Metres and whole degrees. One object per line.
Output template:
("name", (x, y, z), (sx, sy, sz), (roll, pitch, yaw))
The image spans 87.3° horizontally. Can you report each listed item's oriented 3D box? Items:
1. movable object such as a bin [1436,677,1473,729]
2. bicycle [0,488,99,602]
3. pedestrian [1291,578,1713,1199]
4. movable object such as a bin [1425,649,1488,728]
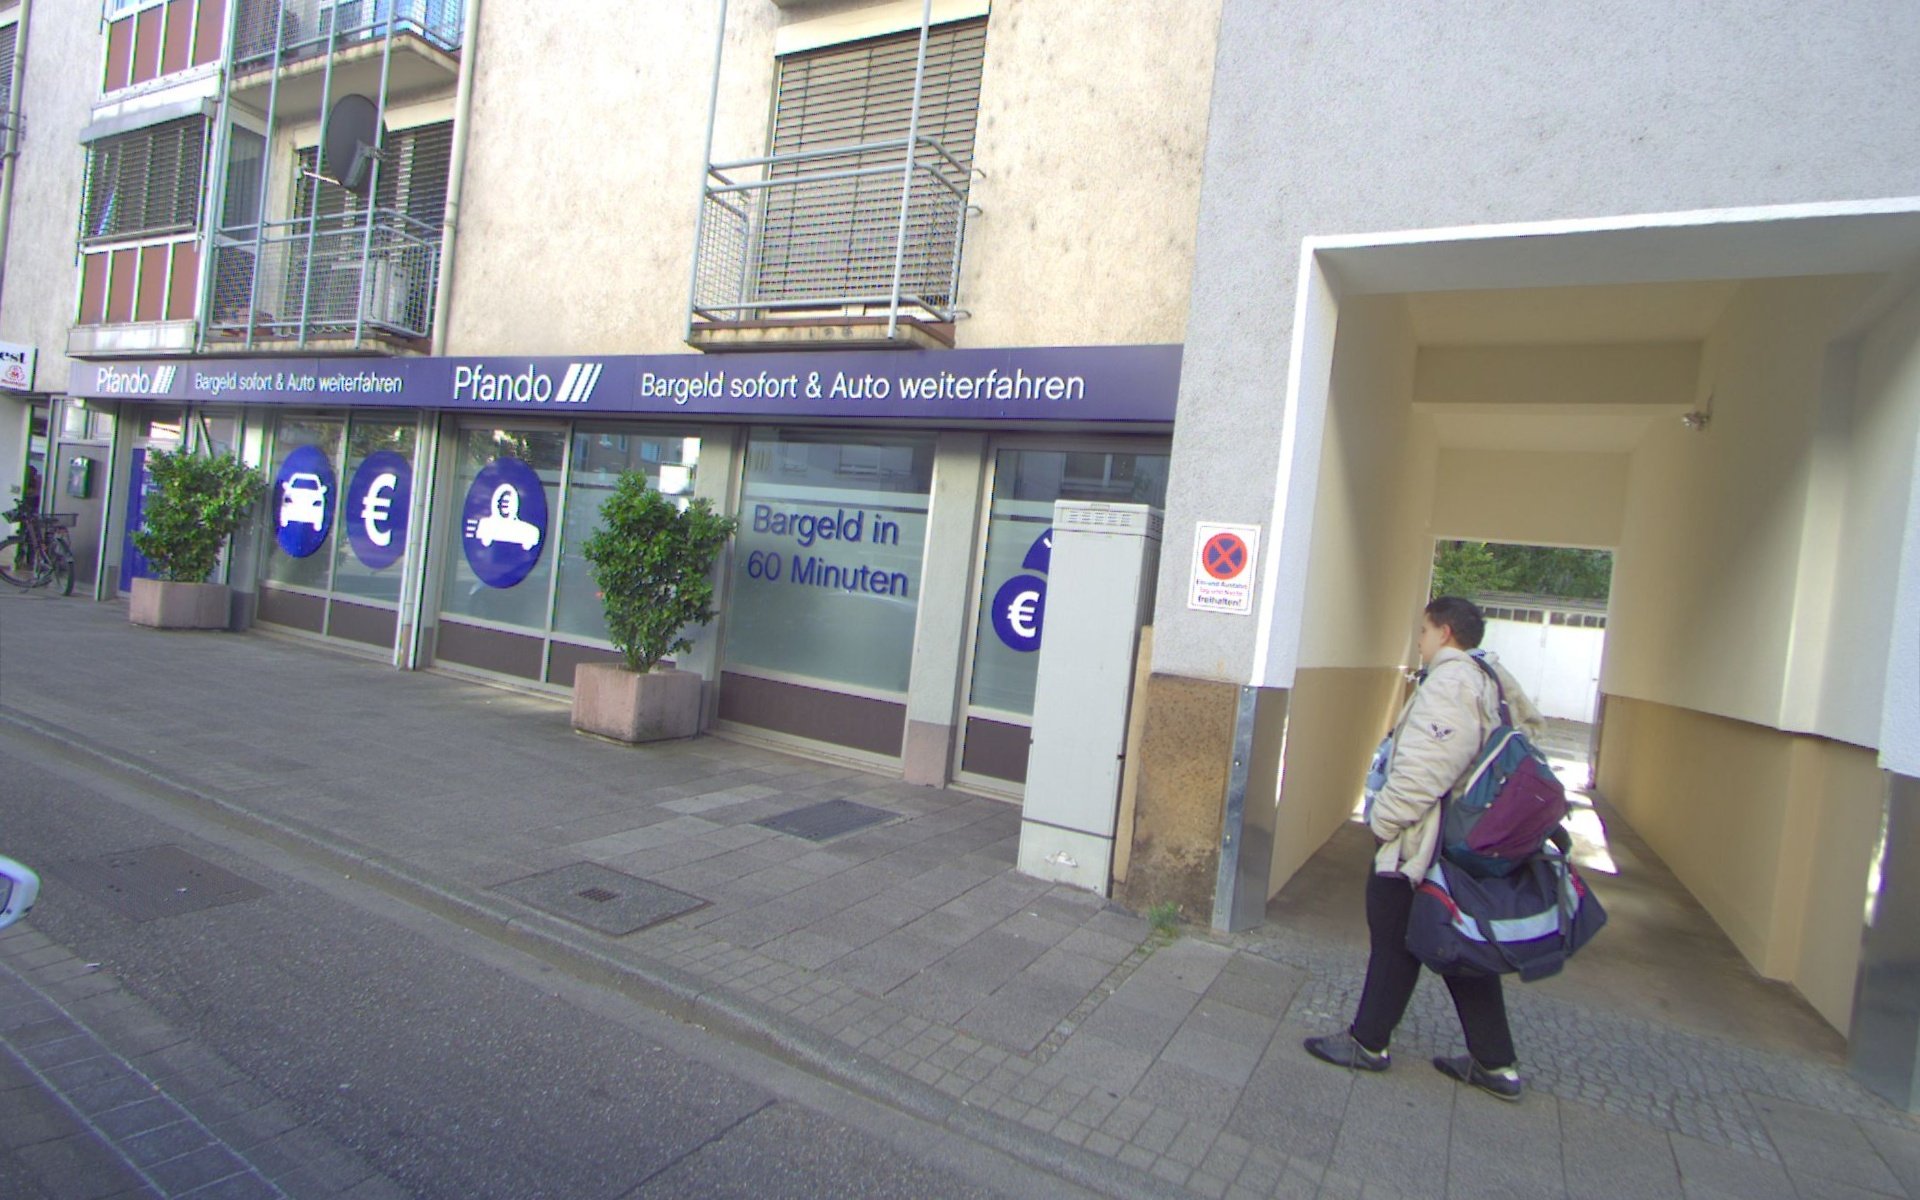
("movable object such as a bin", (9.559, 1.978, 19.453), (0.518, 0.922, 0.580), (7, 1, 29))
("bicycle", (-11.845, -0.729, 12.879), (1.879, 1.280, 0.640), (7, 1, 32))
("pedestrian", (1.672, 0.786, 3.195), (0.853, 1.593, 0.874), (8, 3, 29))
("movable object such as a bin", (10.111, 1.785, 20.457), (0.945, 1.426, 1.598), (7, 1, 29))
